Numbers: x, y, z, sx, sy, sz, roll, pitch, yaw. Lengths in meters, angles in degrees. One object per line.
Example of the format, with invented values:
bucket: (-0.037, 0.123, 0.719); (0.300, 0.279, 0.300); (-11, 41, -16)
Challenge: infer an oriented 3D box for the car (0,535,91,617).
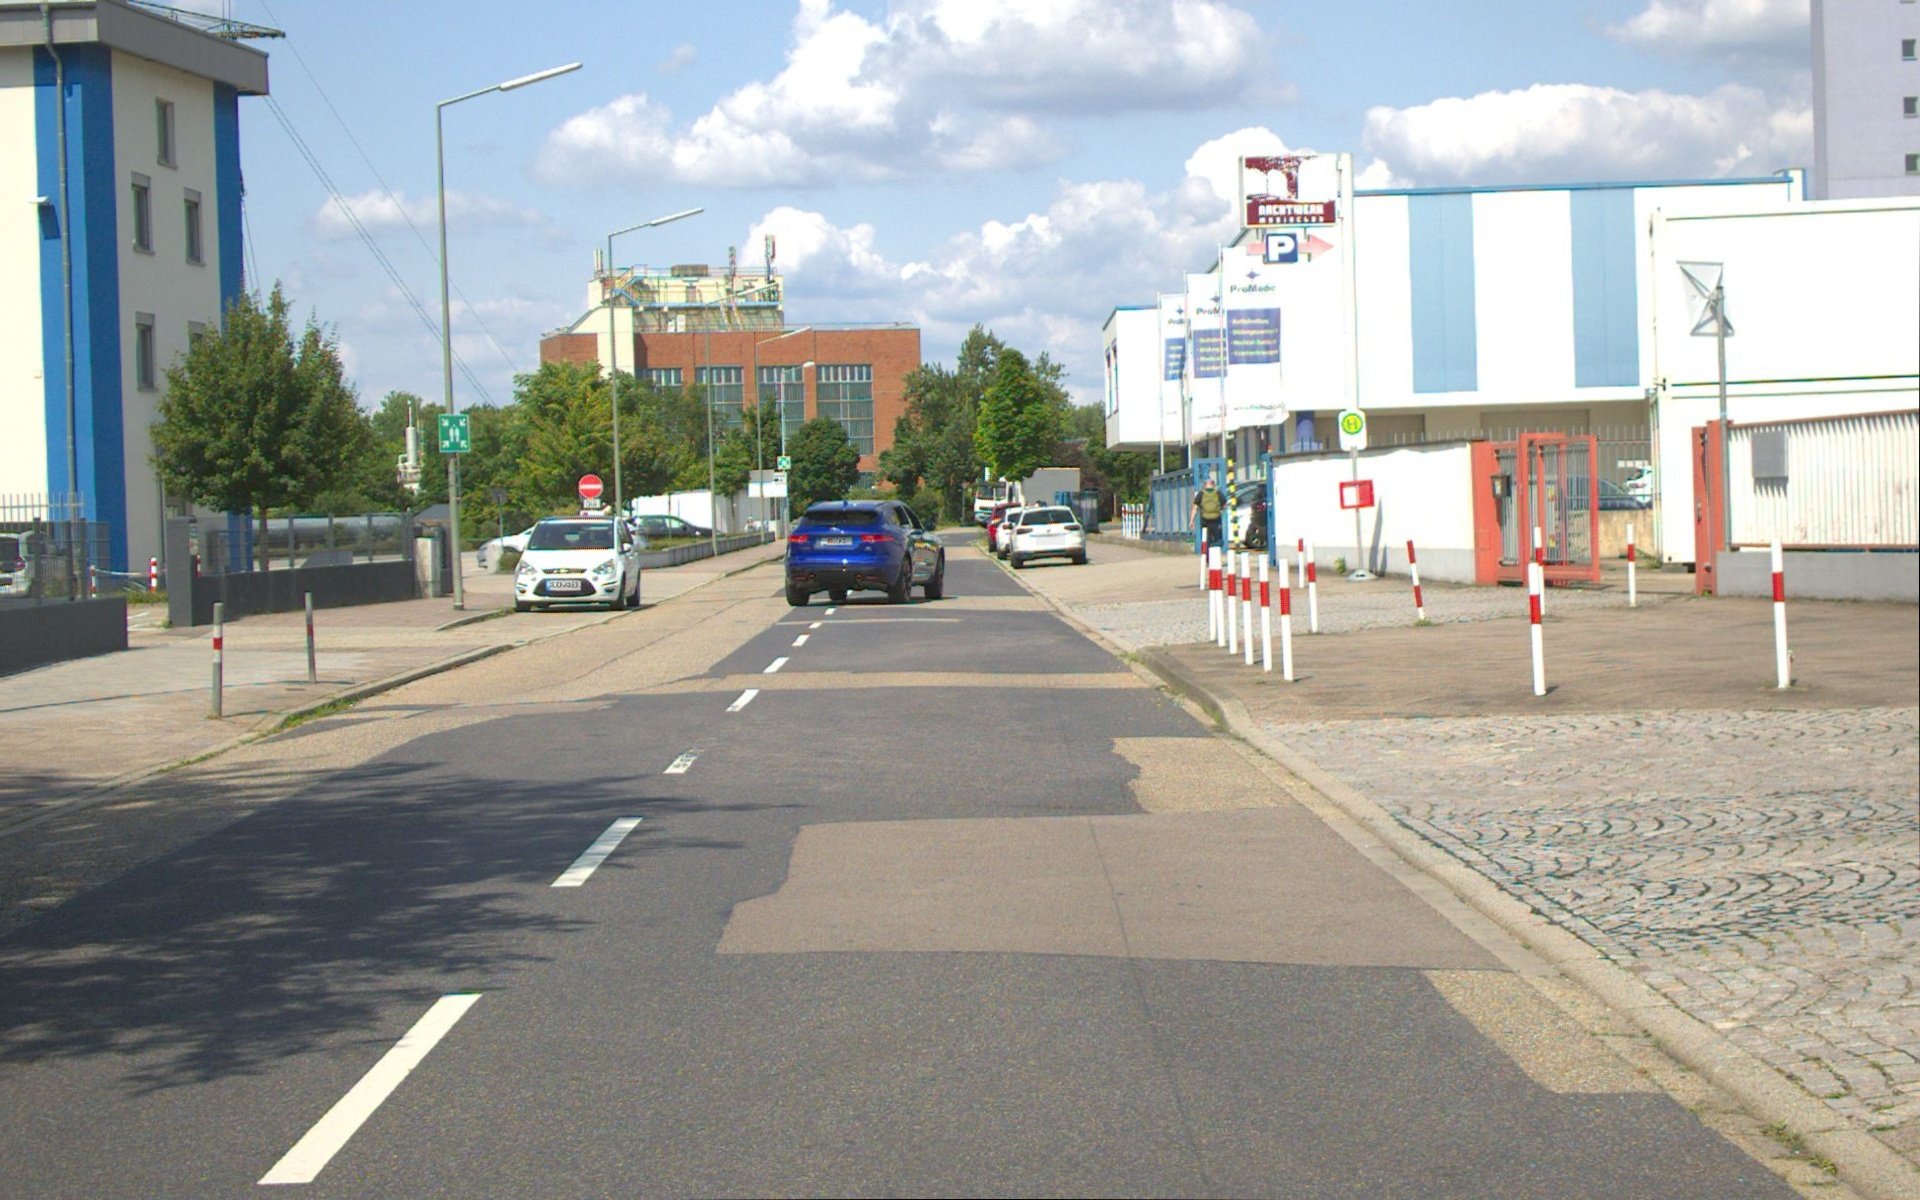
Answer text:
car: (-18.498, -0.460, 66.869); (1.873, 1.501, 3.758); (-2, 1, 6)

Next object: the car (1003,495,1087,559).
car: (2.099, -1.846, 86.078); (1.867, 1.515, 4.598); (-1, 1, -1)

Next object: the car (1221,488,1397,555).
car: (8.337, -1.889, 82.366); (3.987, 1.415, 2.000); (-2, 2, 0)

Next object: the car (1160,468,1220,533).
car: (9.040, -3.899, 135.389); (1.924, 2.455, 5.260); (-1, 1, 0)

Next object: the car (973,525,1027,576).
car: (1.386, -1.716, 117.801); (1.755, 1.645, 4.677); (-1, 1, 1)

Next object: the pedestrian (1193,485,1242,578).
pedestrian: (4.995, -1.328, 66.805); (0.769, 1.750, 0.787); (-4, 1, -1)

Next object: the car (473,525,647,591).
car: (-11.375, -1.216, 98.000); (4.754, 1.597, 2.000); (-3, 2, -4)

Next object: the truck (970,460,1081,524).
truck: (3.964, -6.452, 204.133); (2.325, 3.555, 9.352); (1, 3, 30)

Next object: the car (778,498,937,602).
car: (-1.615, -0.846, 55.898); (1.910, 1.587, 4.700); (-1, 1, 7)

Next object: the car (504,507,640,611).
car: (-6.656, -0.746, 59.463); (1.867, 1.702, 4.753); (-1, 1, -1)

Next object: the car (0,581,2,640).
car: (-13.111, -0.302, 39.492); (3.647, 1.702, 1.879); (-2, 1, -1)

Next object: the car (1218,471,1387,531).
car: (9.170, -2.666, 92.276); (4.279, 1.415, 2.000); (-2, 2, 0)

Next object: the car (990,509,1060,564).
car: (1.840, -1.840, 98.739); (1.835, 1.515, 4.462); (-1, 1, -1)
